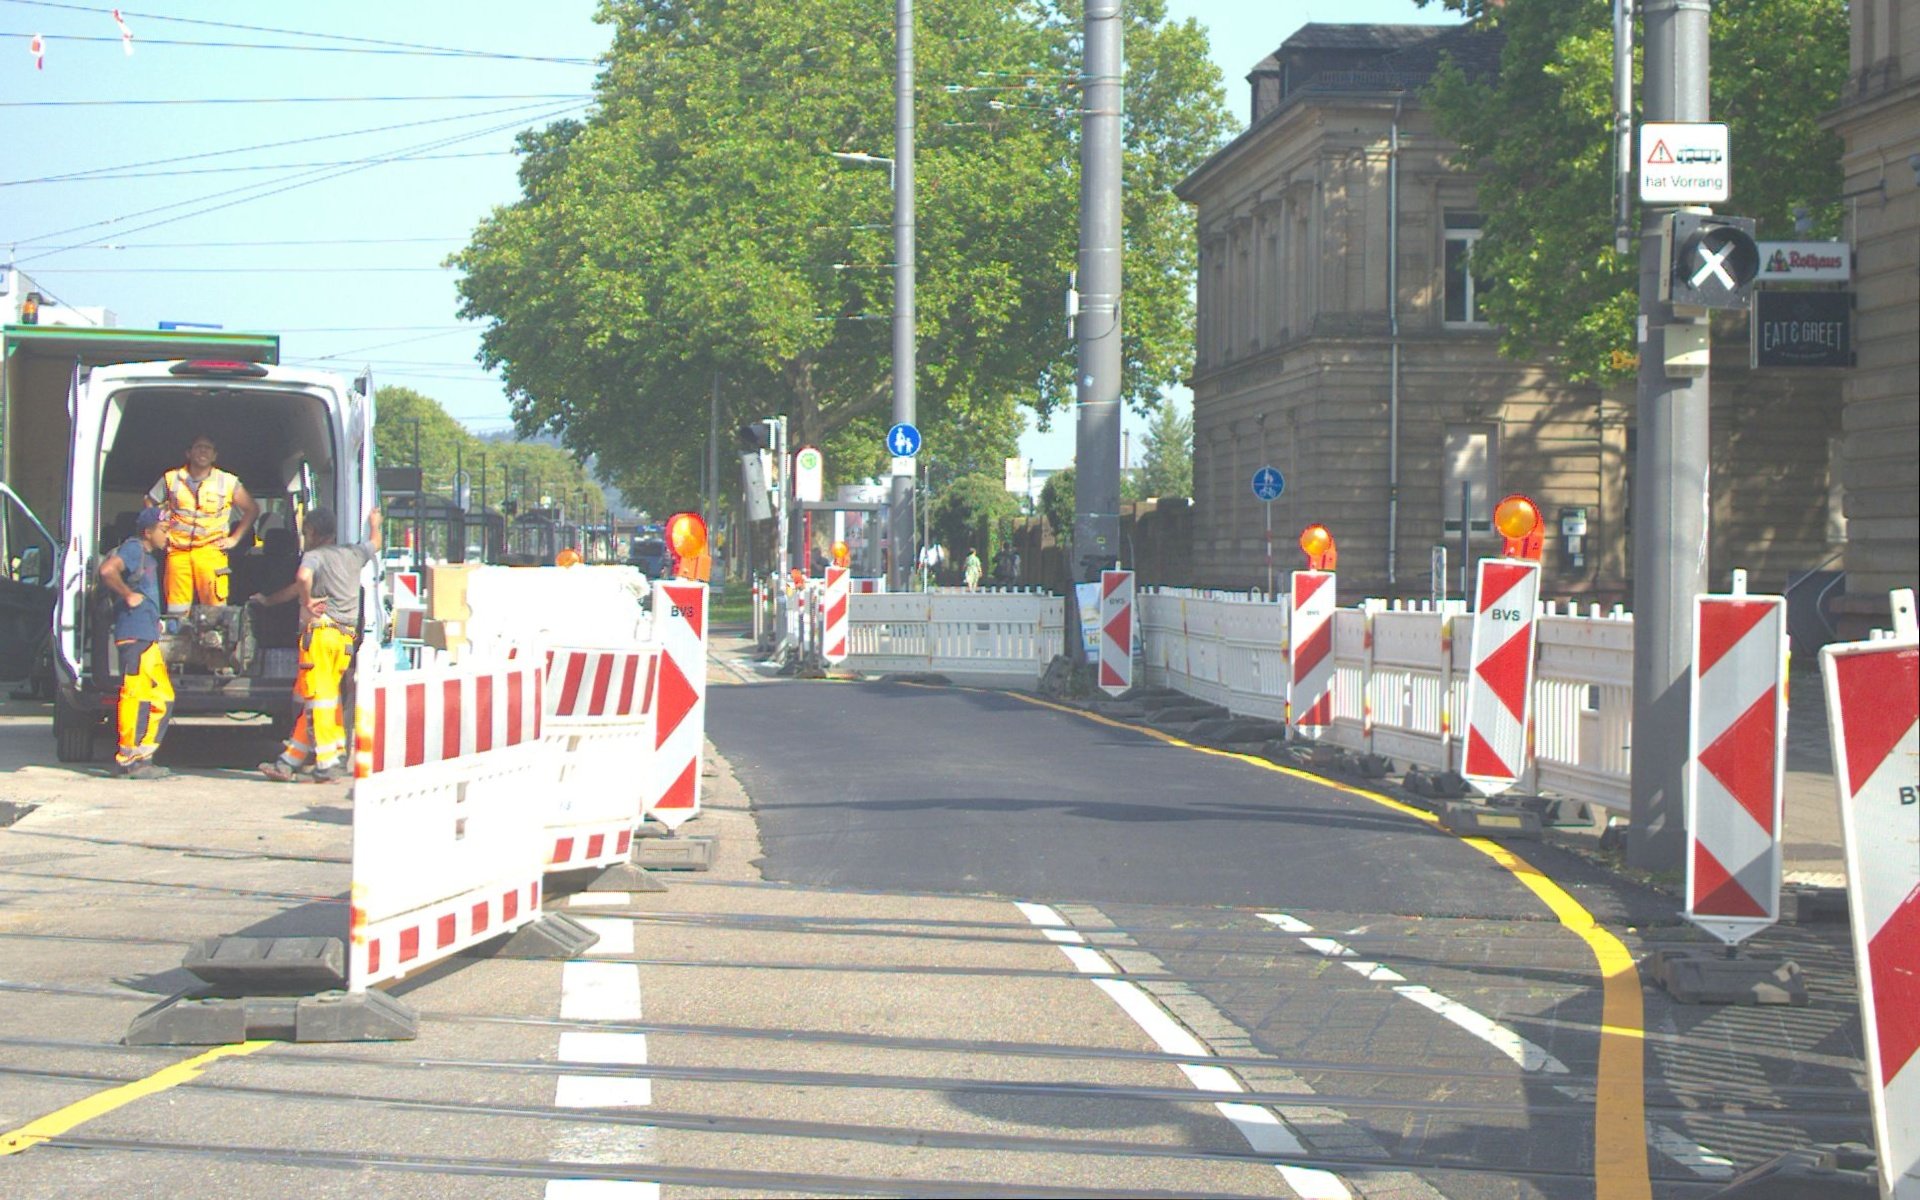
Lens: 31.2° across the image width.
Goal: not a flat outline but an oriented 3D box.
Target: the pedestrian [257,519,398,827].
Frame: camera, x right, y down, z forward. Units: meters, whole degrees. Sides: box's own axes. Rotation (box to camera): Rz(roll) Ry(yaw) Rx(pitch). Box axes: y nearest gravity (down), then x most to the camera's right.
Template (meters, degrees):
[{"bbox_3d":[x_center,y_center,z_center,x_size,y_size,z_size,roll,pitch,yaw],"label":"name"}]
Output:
[{"bbox_3d":[-4.199,0.471,22.860,0.734,2.007,0.907,0,0,2],"label":"pedestrian"}]

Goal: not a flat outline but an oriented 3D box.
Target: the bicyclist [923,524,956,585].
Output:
[{"bbox_3d":[-0.526,-1.158,87.443,0.717,1.538,0.956,0,1,-7],"label":"bicyclist"}]

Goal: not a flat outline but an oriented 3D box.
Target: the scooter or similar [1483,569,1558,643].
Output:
[{"bbox_3d":[9.480,0.097,58.142,1.251,1.206,0.423,-2,3,-29],"label":"scooter or similar"}]

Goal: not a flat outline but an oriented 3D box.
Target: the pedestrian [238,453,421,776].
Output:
[{"bbox_3d":[-4.016,0.087,21.927,0.735,2.007,0.906,0,0,29],"label":"pedestrian"}]

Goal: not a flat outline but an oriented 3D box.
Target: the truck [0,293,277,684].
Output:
[{"bbox_3d":[-8.763,-1.115,36.482,2.673,3.666,8.216,0,1,-13],"label":"truck"}]

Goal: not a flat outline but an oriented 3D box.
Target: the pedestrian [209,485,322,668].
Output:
[{"bbox_3d":[-6.530,-0.223,32.330,0.706,1.688,0.764,0,0,32],"label":"pedestrian"}]

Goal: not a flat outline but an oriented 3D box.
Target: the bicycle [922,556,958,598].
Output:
[{"bbox_3d":[-0.514,-0.596,87.353,0.717,1.038,1.903,0,1,-7],"label":"bicycle"}]

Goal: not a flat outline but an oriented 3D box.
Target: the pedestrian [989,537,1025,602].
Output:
[{"bbox_3d":[1.241,-0.810,91.203,0.819,1.680,1.012,-3,1,-4],"label":"pedestrian"}]

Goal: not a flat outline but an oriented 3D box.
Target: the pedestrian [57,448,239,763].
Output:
[{"bbox_3d":[-5.296,0.032,22.444,0.735,2.007,0.906,0,0,27],"label":"pedestrian"}]

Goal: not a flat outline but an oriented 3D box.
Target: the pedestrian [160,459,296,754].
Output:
[{"bbox_3d":[-5.077,0.042,23.892,0.734,2.007,0.907,0,0,1],"label":"pedestrian"}]

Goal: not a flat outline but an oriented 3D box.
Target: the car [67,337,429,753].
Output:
[{"bbox_3d":[-5.349,-0.384,25.279,2.224,2.720,5.172,0,0,-16],"label":"car"}]
